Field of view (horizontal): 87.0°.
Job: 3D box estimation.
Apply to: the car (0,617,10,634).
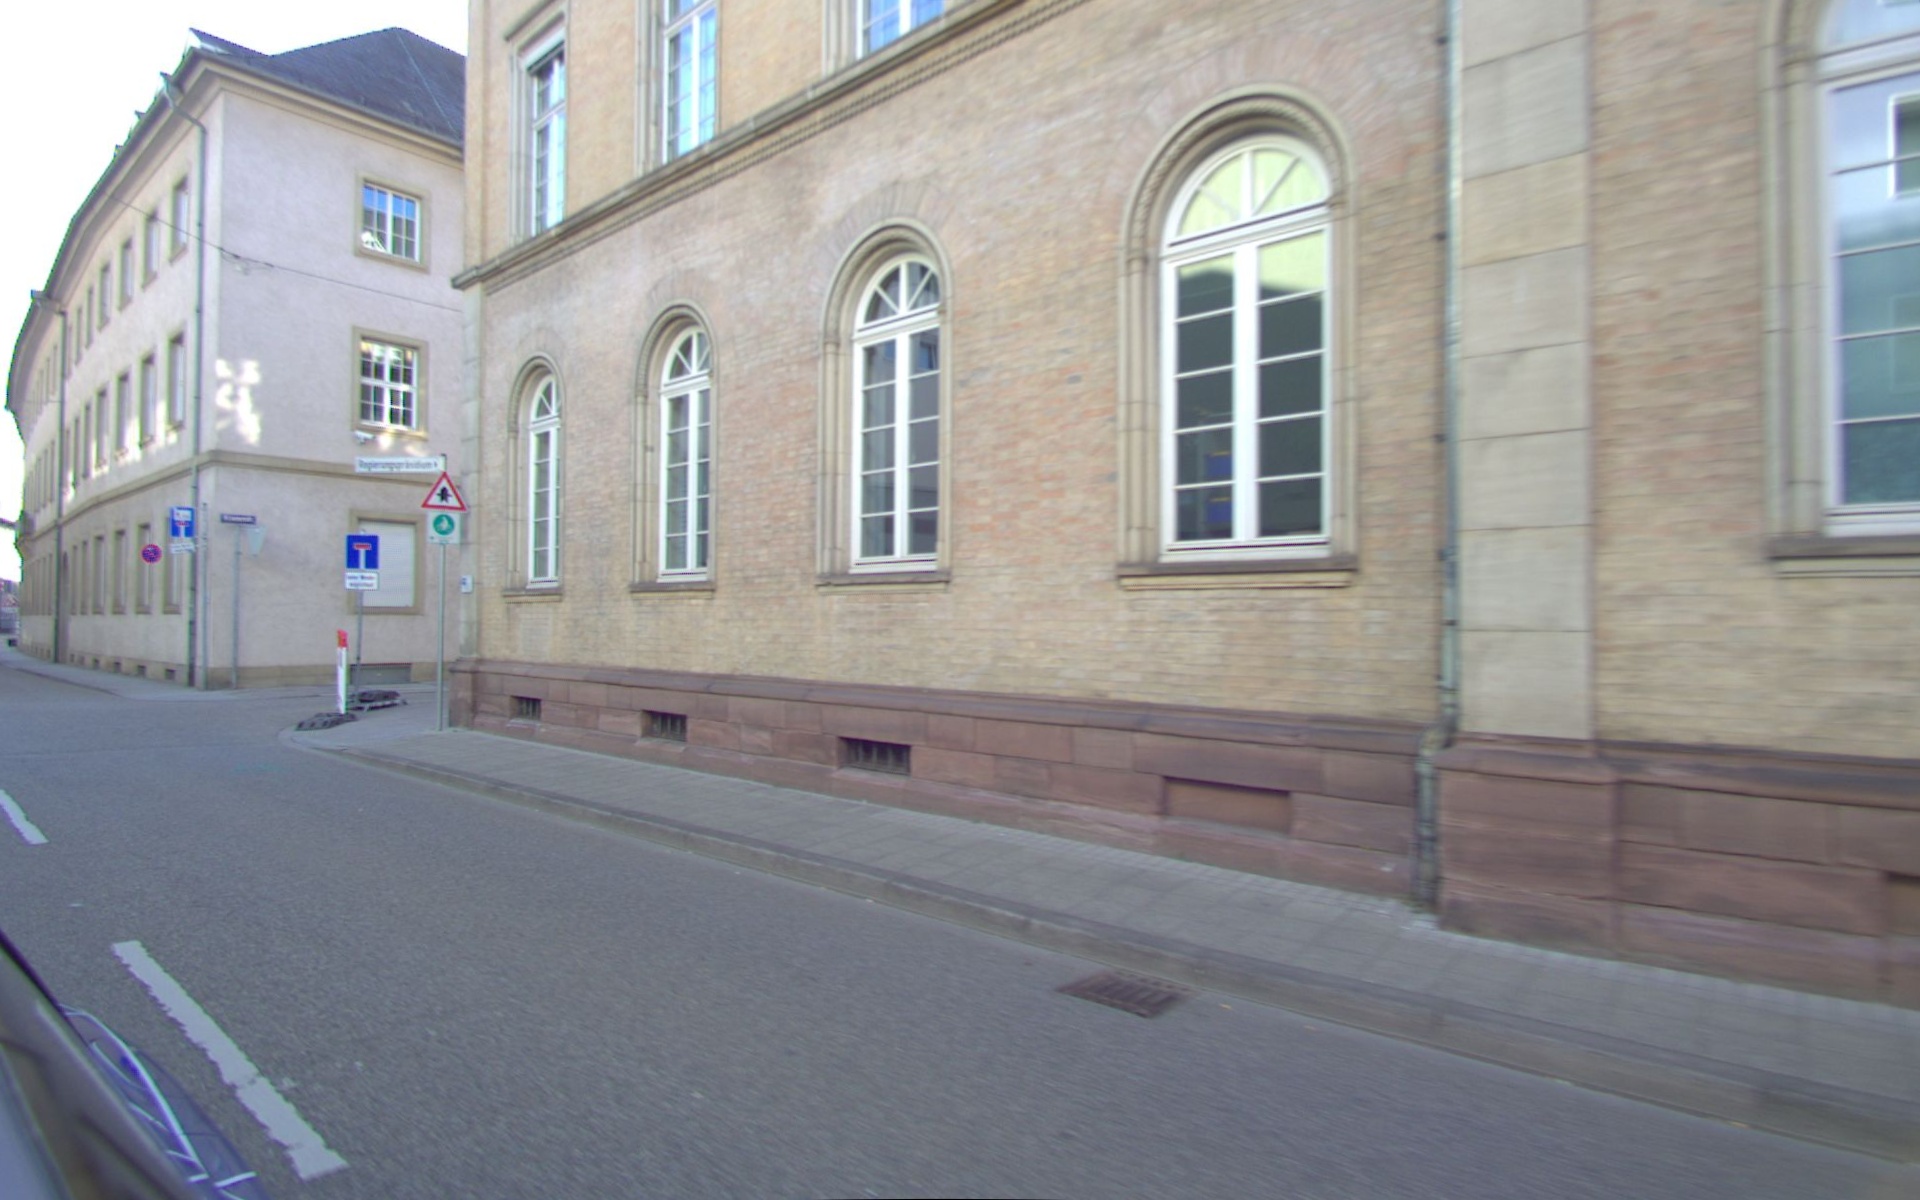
[{"bbox_3d":[-93.520,2.531,97.740,1.747,1.595,3.868,-4,1,-31],"label":"car"}]
